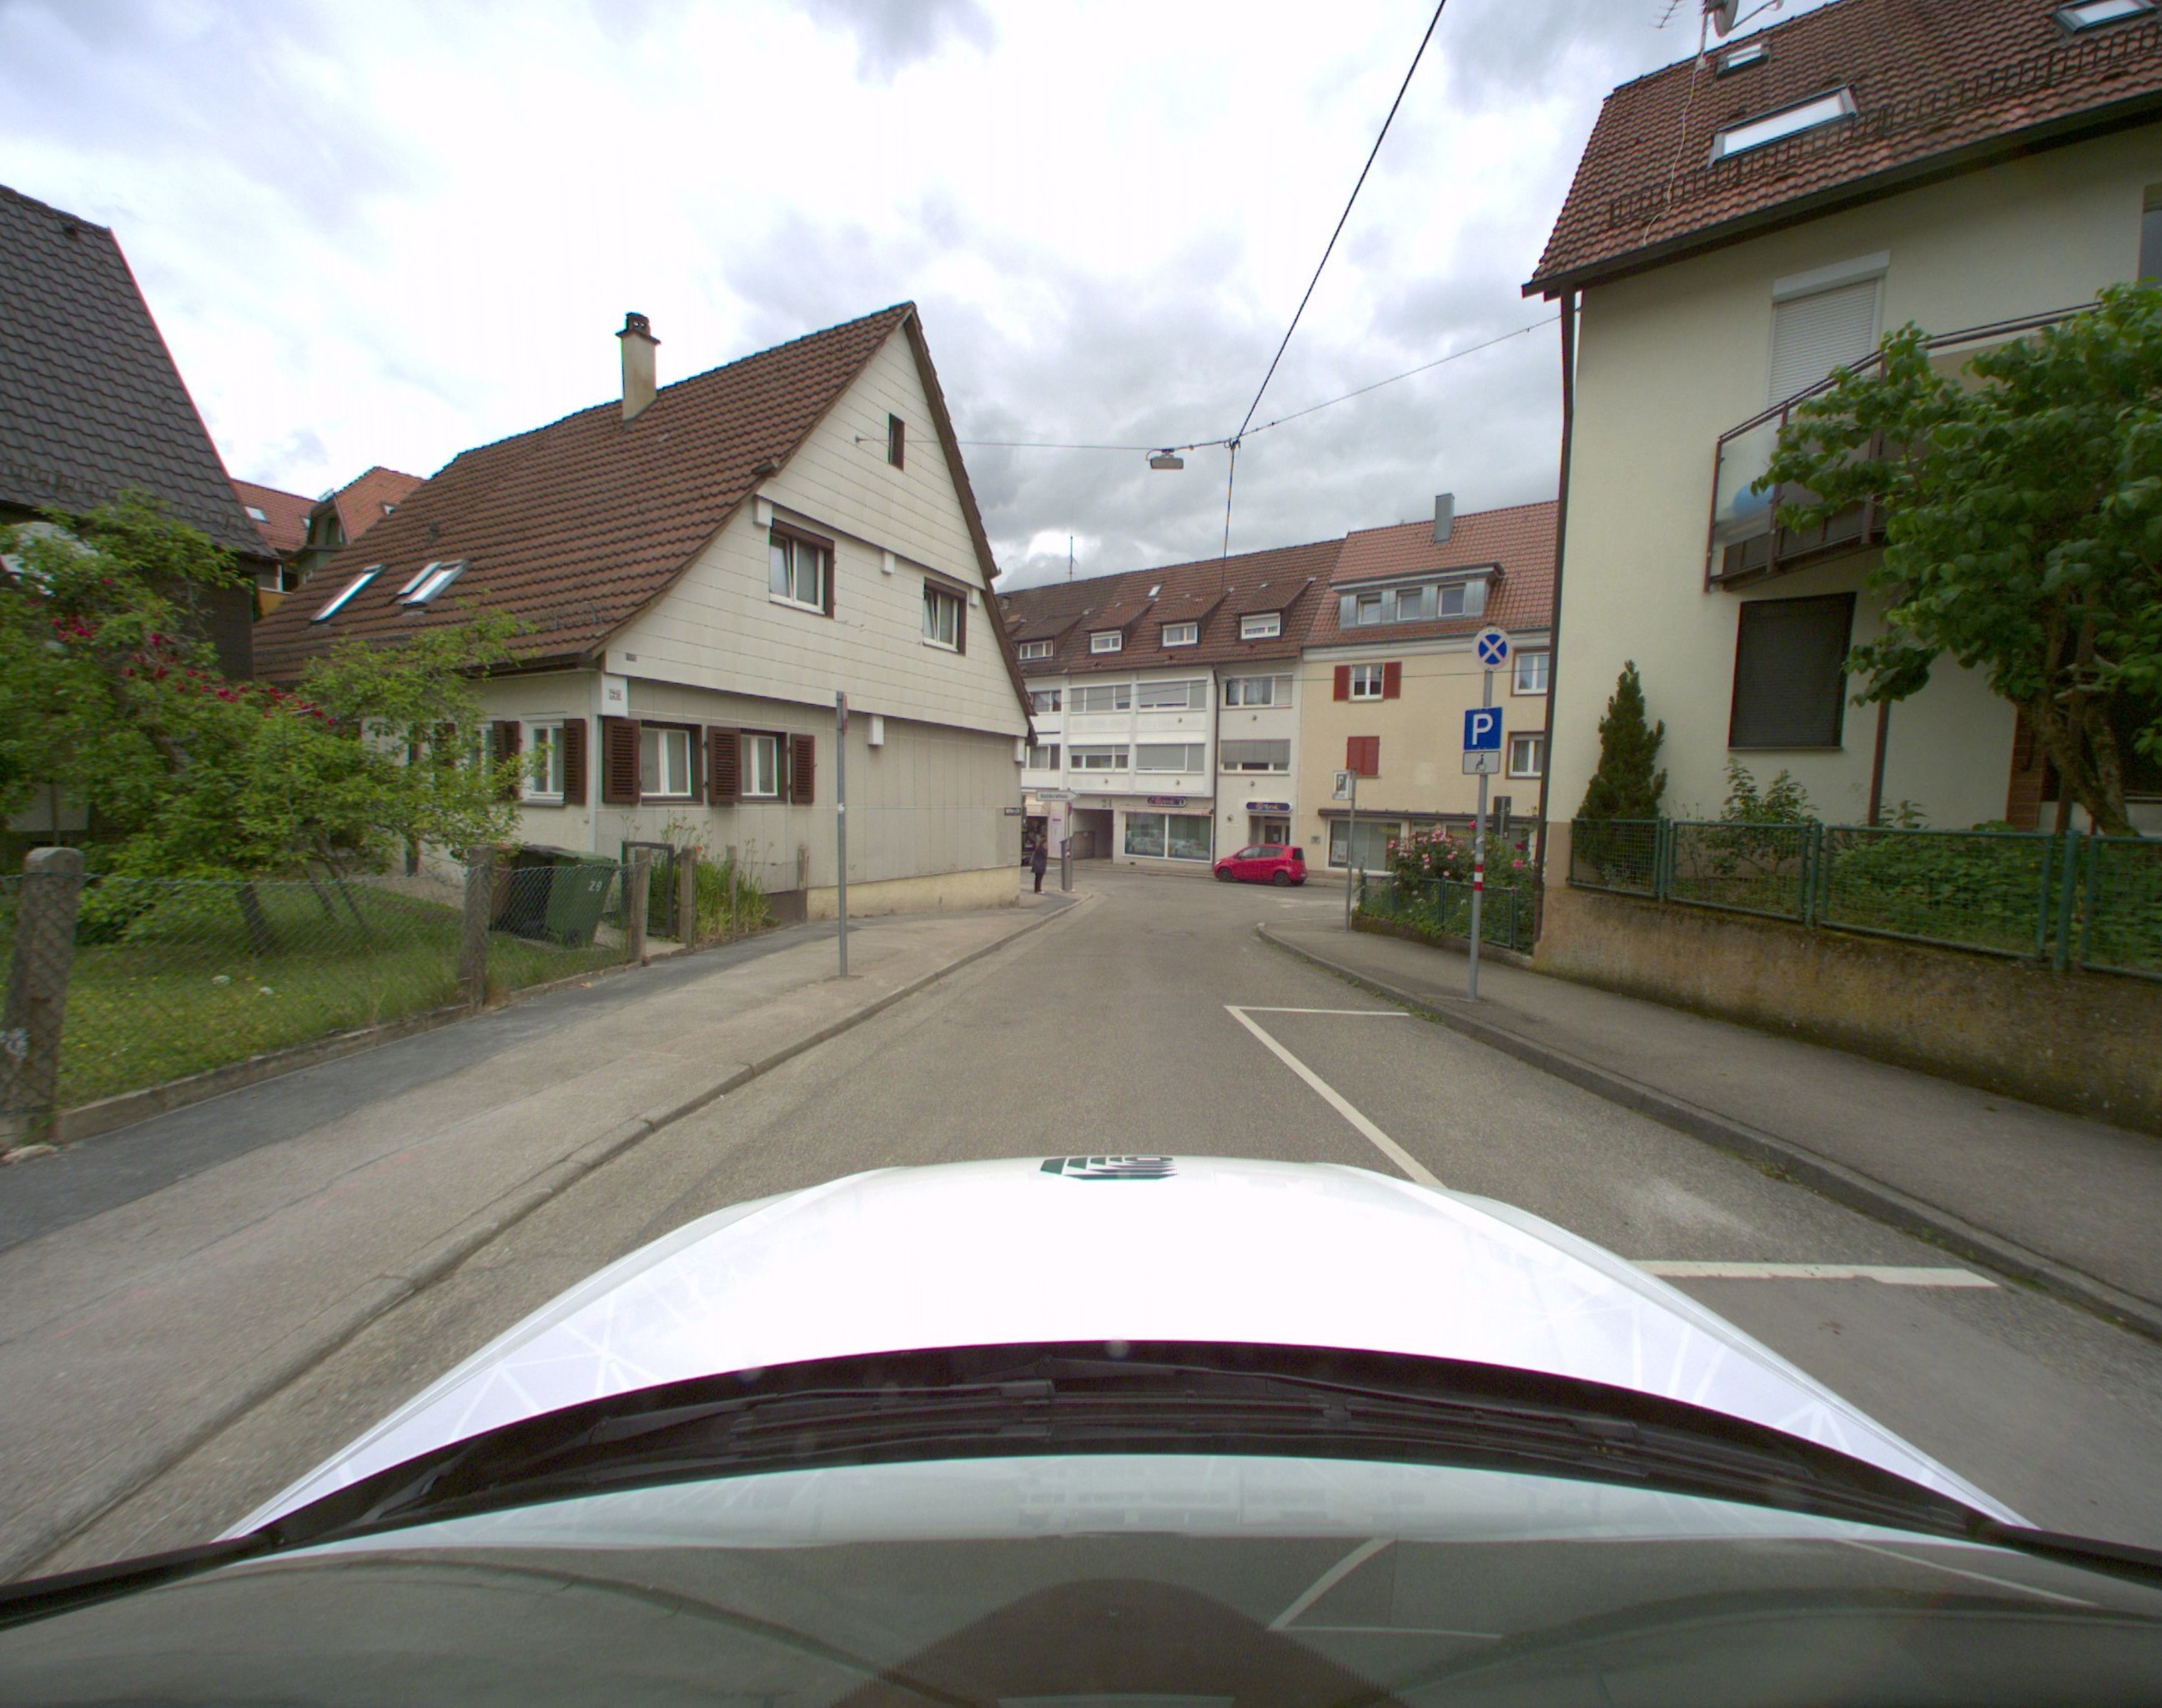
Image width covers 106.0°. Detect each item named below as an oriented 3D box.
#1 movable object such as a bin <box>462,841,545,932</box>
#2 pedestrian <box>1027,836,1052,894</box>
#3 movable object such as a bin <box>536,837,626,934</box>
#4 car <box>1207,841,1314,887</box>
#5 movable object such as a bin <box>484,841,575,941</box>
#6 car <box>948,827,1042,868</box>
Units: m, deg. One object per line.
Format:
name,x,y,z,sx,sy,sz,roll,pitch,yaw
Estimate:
movable object such as a bin,-5.990,0.333,8.458,0.490,0.878,0.455,6,0,27
pedestrian,-1.238,0.318,24.138,0.646,1.684,0.603,2,1,-7
movable object such as a bin,-4.971,0.306,8.107,0.522,0.884,0.493,6,0,26
car,6.956,0.330,31.694,3.648,1.556,1.708,3,2,38
movable object such as a bin,-5.527,0.364,8.172,0.522,0.917,0.493,6,0,26
car,-4.201,-0.357,39.444,4.313,1.779,1.960,3,2,36
